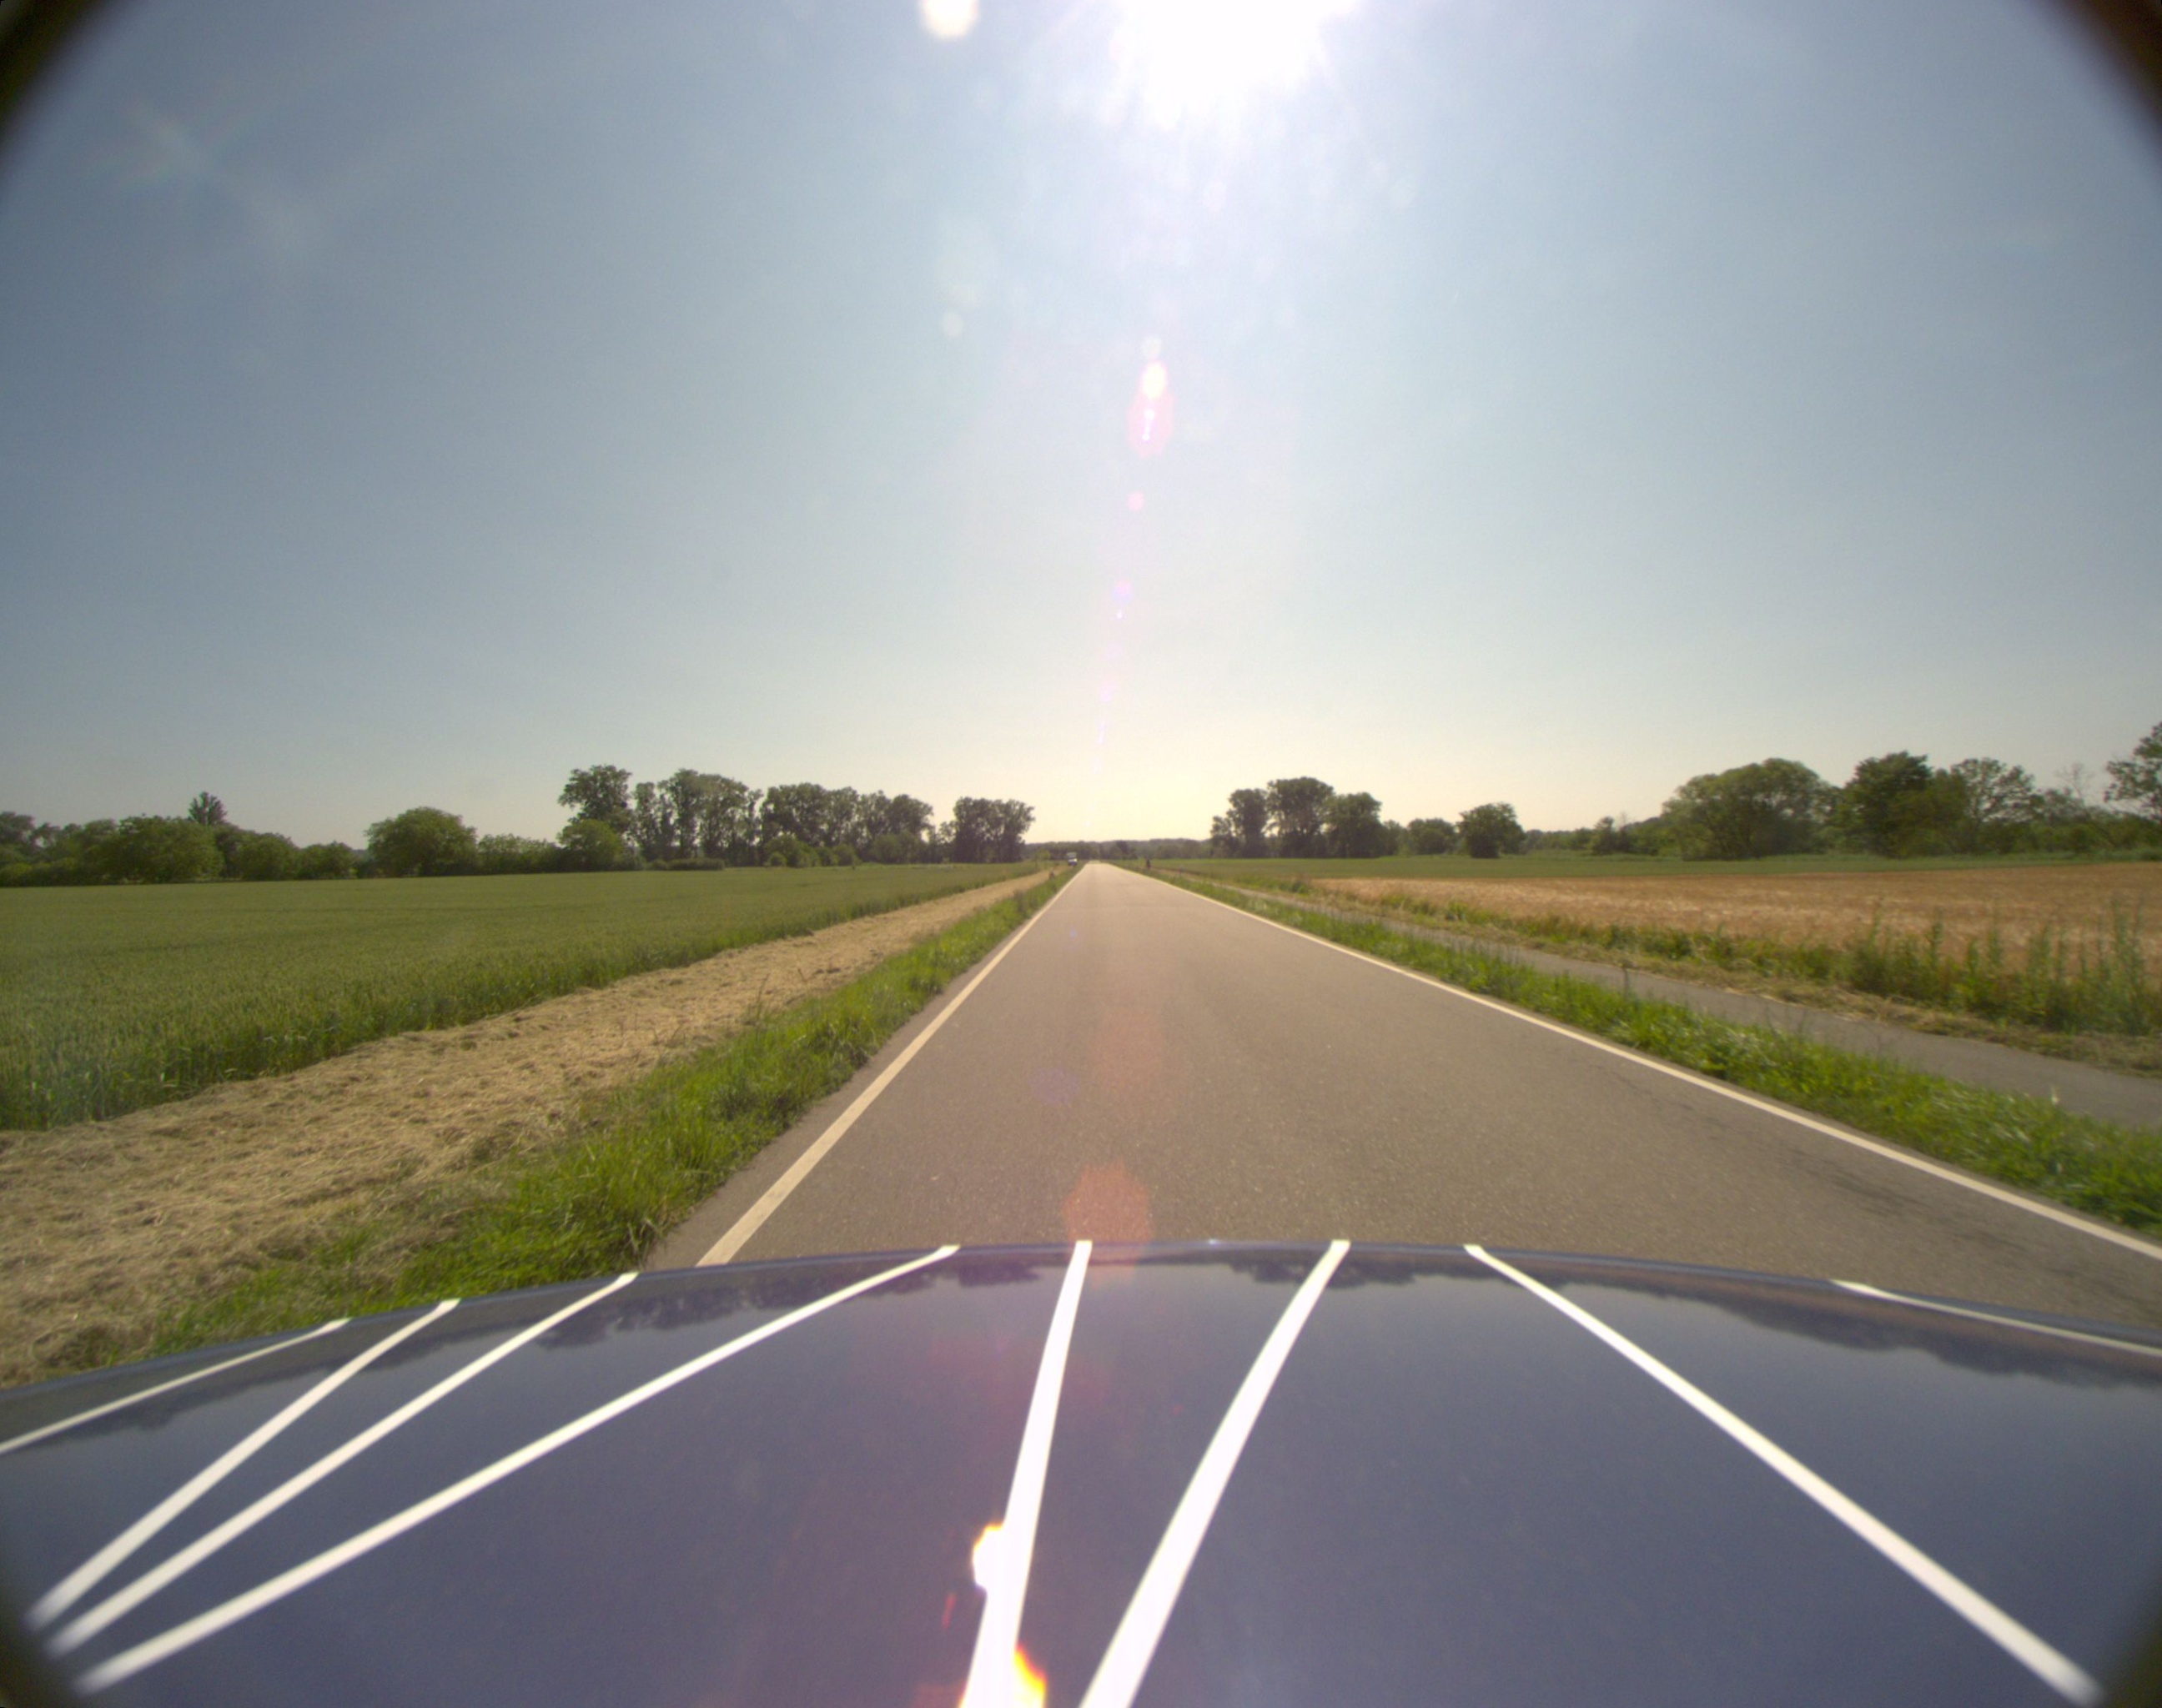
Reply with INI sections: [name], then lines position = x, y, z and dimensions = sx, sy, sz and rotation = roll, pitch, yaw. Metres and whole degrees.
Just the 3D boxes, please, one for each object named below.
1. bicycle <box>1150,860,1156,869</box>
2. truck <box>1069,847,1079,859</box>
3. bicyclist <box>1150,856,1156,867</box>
[bicycle]
position = 9.913, 1.403, 104.601
dimensions = 0.743, 1.165, 2.083
rotation = -1, 0, 1
[truck]
position = -1.663, -0.202, 175.547
dimensions = 1.998, 2.821, 5.218
rotation = -1, 0, 1
[bicyclist]
position = 9.899, 1.095, 104.601
dimensions = 0.743, 1.487, 1.003
rotation = -1, 0, 1
